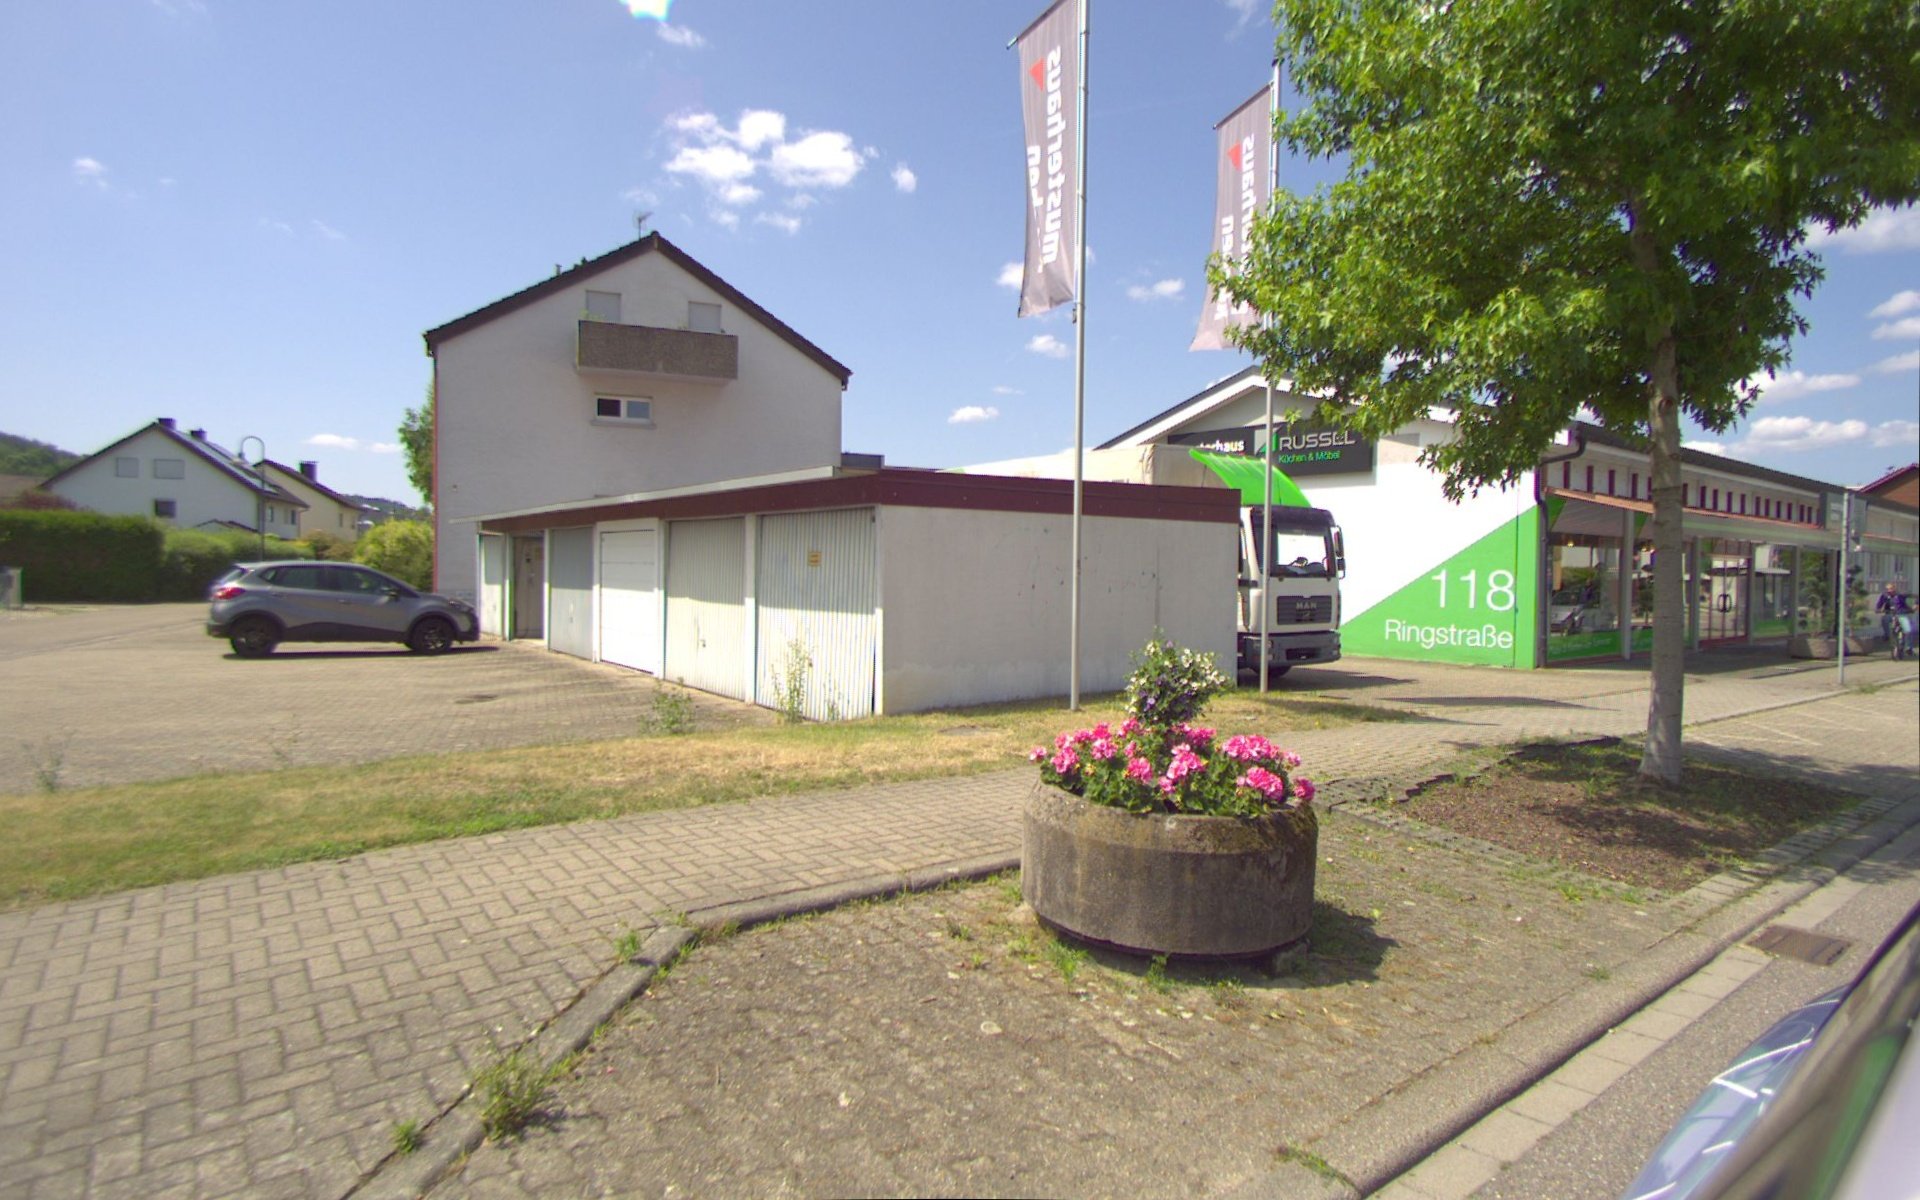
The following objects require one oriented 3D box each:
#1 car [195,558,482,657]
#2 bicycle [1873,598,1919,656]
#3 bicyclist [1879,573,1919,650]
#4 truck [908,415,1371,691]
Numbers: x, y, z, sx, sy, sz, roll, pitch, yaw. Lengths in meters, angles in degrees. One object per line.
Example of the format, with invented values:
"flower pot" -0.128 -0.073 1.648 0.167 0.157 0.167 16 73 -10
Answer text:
"car" -10.606 0.080 17.425 4.054 1.521 1.680 0 2 -36
"bicycle" 21.163 0.587 22.577 1.907 1.179 0.805 -1 3 -38
"bicyclist" 21.130 0.236 22.504 1.091 1.650 0.805 0 2 -38
"truck" 2.513 -0.738 17.327 2.629 3.616 8.193 -1 2 -37
